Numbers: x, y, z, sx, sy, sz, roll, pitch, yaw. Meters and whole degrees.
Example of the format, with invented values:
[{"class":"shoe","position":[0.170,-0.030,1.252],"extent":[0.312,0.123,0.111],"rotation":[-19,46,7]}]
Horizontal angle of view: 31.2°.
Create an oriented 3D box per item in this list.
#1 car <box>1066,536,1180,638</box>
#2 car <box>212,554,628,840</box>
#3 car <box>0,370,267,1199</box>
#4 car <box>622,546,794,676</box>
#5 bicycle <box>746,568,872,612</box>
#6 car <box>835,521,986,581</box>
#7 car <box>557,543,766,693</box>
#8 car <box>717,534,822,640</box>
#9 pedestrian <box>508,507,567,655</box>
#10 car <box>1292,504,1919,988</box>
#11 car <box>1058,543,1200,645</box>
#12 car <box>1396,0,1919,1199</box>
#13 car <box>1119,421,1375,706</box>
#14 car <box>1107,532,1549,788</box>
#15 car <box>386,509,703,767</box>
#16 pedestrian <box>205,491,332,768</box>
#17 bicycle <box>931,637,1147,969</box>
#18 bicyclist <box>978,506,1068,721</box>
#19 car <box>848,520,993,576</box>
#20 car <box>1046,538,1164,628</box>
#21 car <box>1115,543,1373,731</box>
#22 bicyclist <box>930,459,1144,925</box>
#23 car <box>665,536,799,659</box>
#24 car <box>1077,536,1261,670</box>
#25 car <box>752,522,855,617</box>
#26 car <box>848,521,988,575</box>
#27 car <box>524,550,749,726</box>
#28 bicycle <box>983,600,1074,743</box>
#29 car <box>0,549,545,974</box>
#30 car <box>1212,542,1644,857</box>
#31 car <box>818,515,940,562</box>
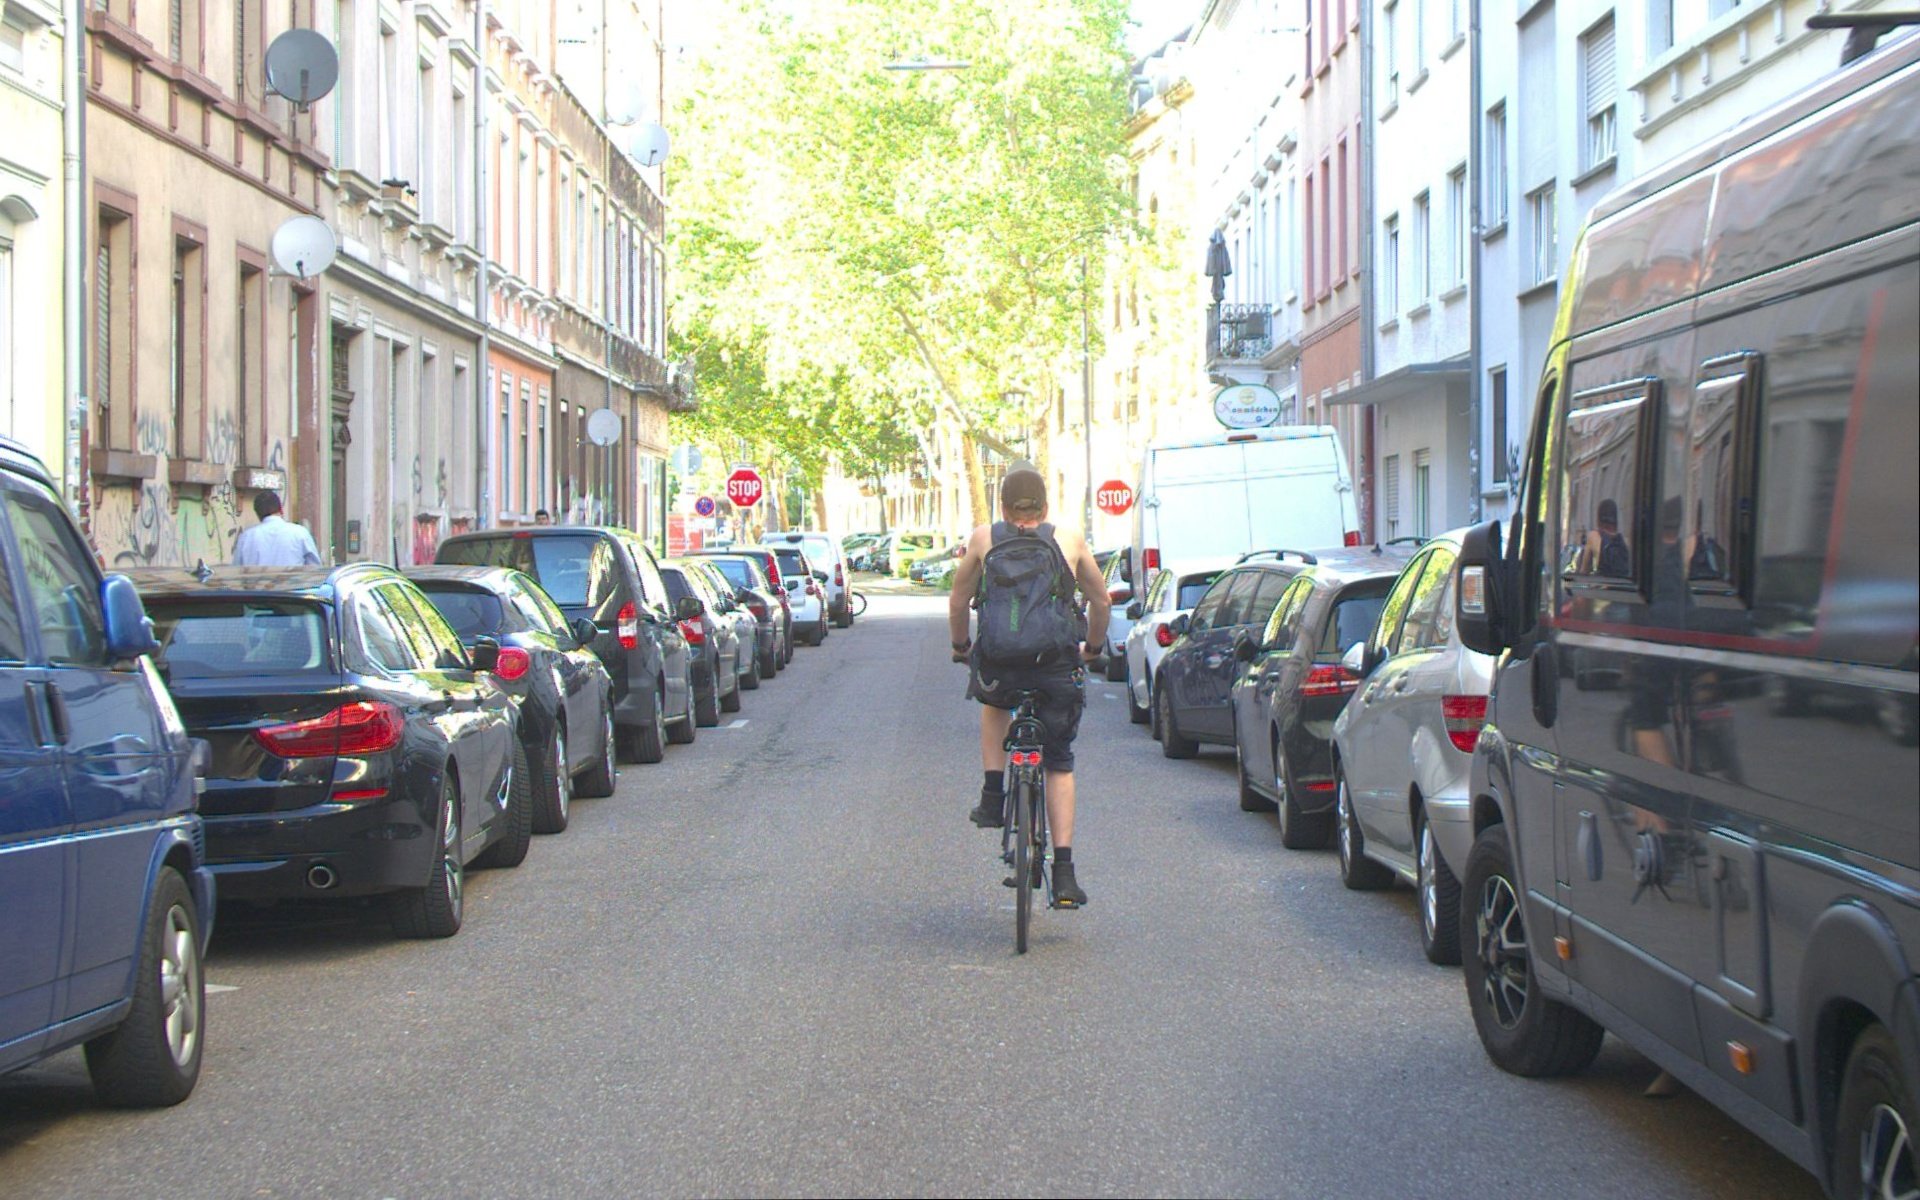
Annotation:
[{"class":"car","position":[2.498,-0.233,53.364],"extent":[1.592,1.487,3.876],"rotation":[-1,1,0]},{"class":"car","position":[-2.977,0.475,19.727],"extent":[1.736,1.422,4.000],"rotation":[-1,1,0]},{"class":"car","position":[-3.037,0.464,7.969],"extent":[1.827,1.885,4.614],"rotation":[-3,1,0]},{"class":"car","position":[-2.929,0.088,40.699],"extent":[1.706,1.409,4.302],"rotation":[-1,1,0]},{"class":"bicycle","position":[-3.292,-0.220,74.863],"extent":[2.715,0.889,0.619],"rotation":[-1,1,-2]},{"class":"car","position":[-1.512,-1.490,104.688],"extent":[4.468,1.753,1.867],"rotation":[-1,1,-4]},{"class":"car","position":[-3.037,0.144,35.640],"extent":[1.674,1.425,3.888],"rotation":[-1,1,2]},{"class":"car","position":[-2.934,-0.226,53.032],"extent":[1.544,1.545,3.466],"rotation":[-1,1,-3]},{"class":"pedestrian","position":[-5.362,-0.245,43.693],"extent":[0.610,1.851,0.754],"rotation":[2,1,-1]},{"class":"car","position":[2.453,0.459,14.010],"extent":[1.693,1.602,4.375],"rotation":[-2,1,0]},{"class":"car","position":[2.333,-0.118,48.275],"extent":[1.657,1.334,4.000],"rotation":[-1,1,-2]},{"class":"car","position":[2.491,0.139,7.432],"extent":[2.175,2.417,6.310],"rotation":[-2,1,0]},{"class":"car","position":[2.725,-0.392,34.028],"extent":[2.204,2.542,6.036],"rotation":[-1,1,2]},{"class":"car","position":[2.430,0.327,23.960],"extent":[1.811,1.473,4.609],"rotation":[-4,2,-9]},{"class":"car","position":[-3.014,0.227,25.684],"extent":[1.801,1.692,4.000],"rotation":[-3,1,0]},{"class":"pedestrian","position":[-4.650,0.188,23.143],"extent":[0.651,1.811,0.754],"rotation":[2,1,1]},{"class":"bicycle","position":[0.271,0.727,13.159],"extent":[0.740,1.097,2.042],"rotation":[1,1,0]},{"class":"bicyclist","position":[0.486,0.097,26.954],"extent":[0.669,1.653,0.877],"rotation":[-1,1,0]},{"class":"car","position":[-1.275,-1.652,109.409],"extent":[4.468,1.690,1.867],"rotation":[-1,1,-4]},{"class":"car","position":[2.455,-0.320,58.822],"extent":[1.710,1.465,4.000],"rotation":[-1,1,-2]},{"class":"car","position":[2.292,0.257,28.598],"extent":[1.725,1.424,3.833],"rotation":[-1,1,-1]},{"class":"bicyclist","position":[0.275,0.323,13.003],"extent":[0.740,1.673,1.117],"rotation":[1,1,0]},{"class":"car","position":[-2.995,-0.063,45.658],"extent":[1.604,1.525,3.379],"rotation":[-2,1,-2]},{"class":"car","position":[2.417,-0.002,40.569],"extent":[1.731,1.465,4.022],"rotation":[-1,1,-3]},{"class":"car","position":[-2.946,-0.600,65.231],"extent":[1.787,1.731,3.876],"rotation":[-1,1,0]},{"class":"car","position":[-1.402,-1.711,112.904],"extent":[4.468,1.690,1.867],"rotation":[-1,1,-4]},{"class":"car","position":[-2.829,0.292,30.663],"extent":[1.592,1.435,3.654],"rotation":[-1,1,1]},{"class":"bicycle","position":[0.527,0.542,27.049],"extent":[0.664,1.034,1.959],"rotation":[-1,1,0]},{"class":"car","position":[-2.916,0.547,14.665],"extent":[1.862,1.435,4.646],"rotation":[-1,2,-2]},{"class":"car","position":[2.422,0.446,18.763],"extent":[1.746,1.480,4.243],"rotation":[-1,1,0]},{"class":"car","position":[-3.058,-2.304,129.449],"extent":[4.468,1.690,1.867],"rotation":[-1,1,-4]}]
